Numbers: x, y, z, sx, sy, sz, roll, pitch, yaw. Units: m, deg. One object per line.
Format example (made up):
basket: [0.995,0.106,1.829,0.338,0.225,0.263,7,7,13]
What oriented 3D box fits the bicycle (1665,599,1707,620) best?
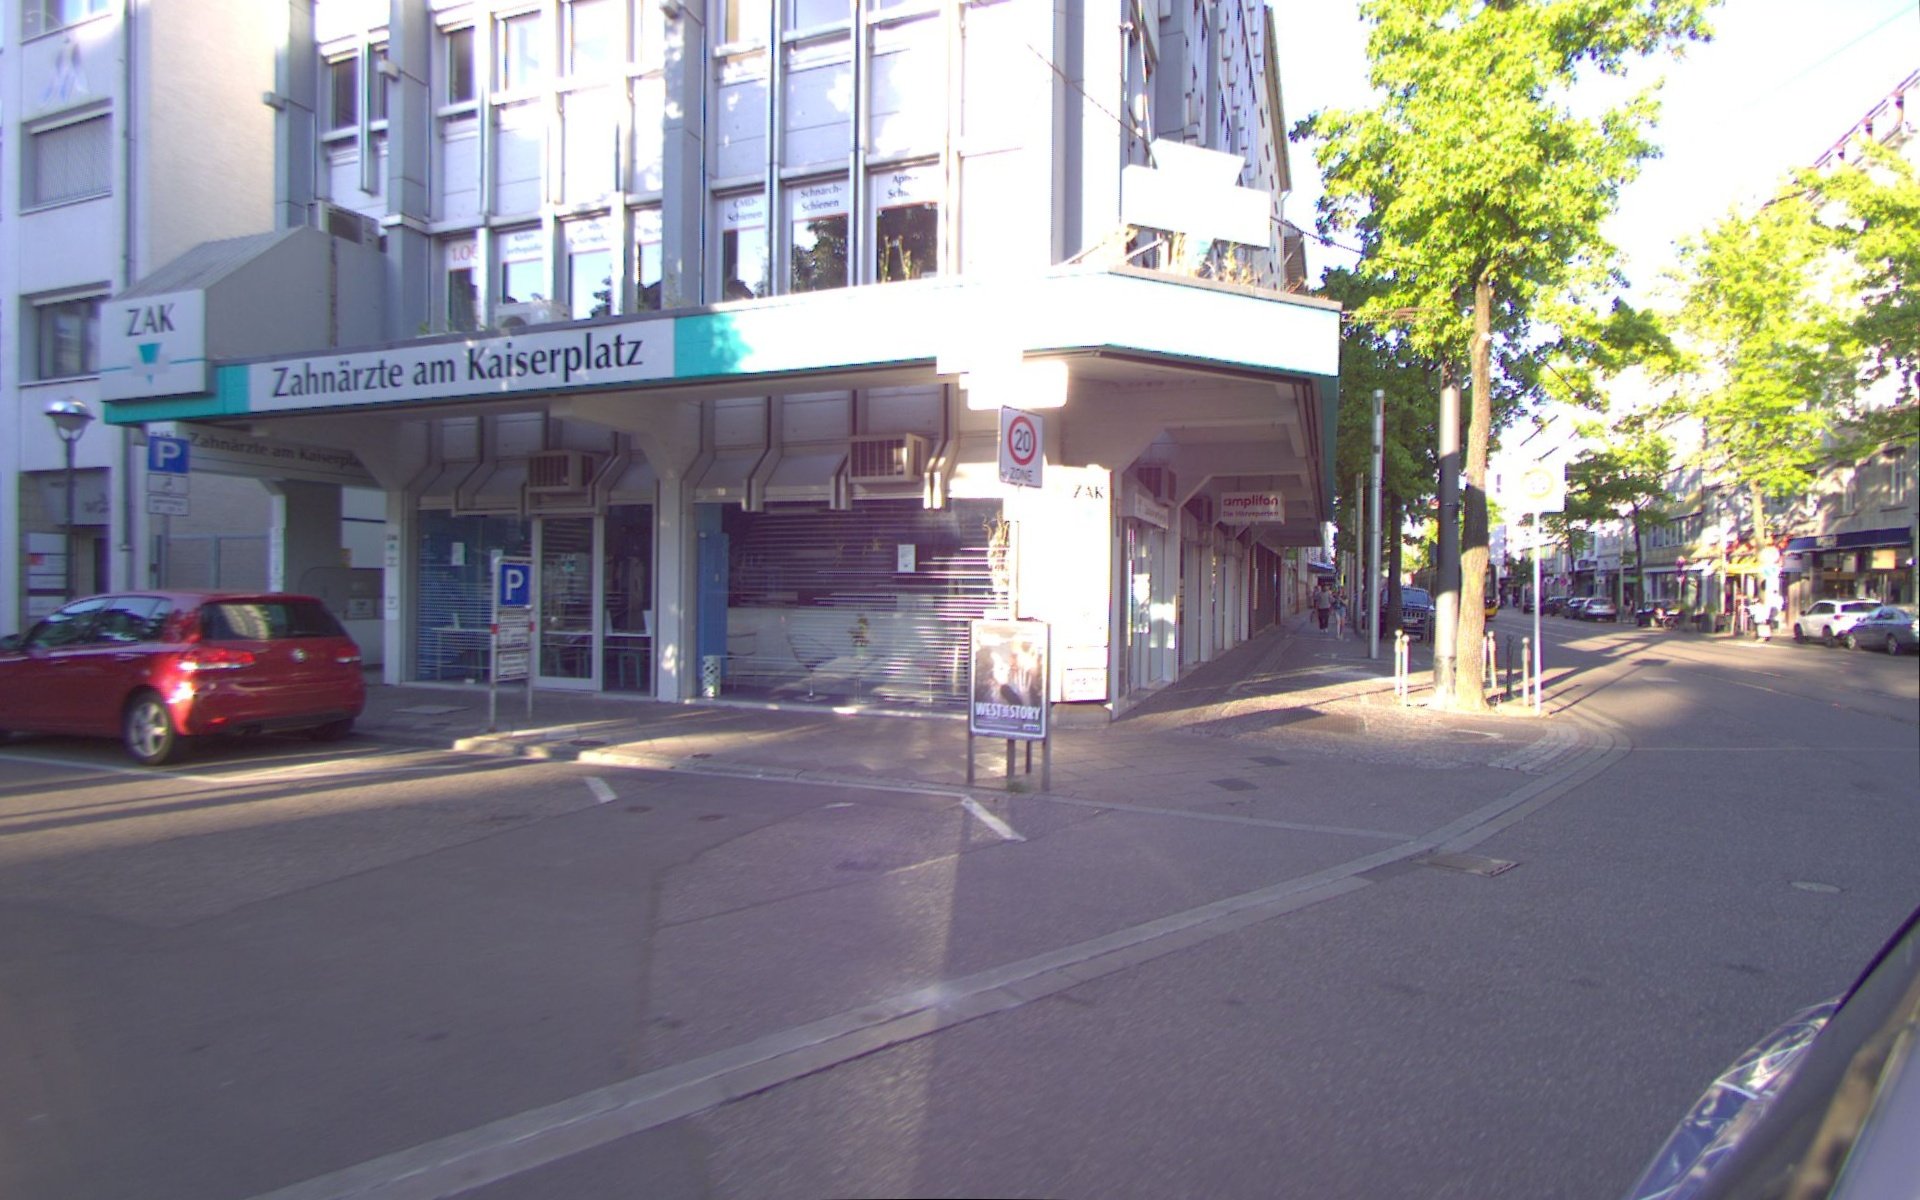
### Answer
bicycle: [35.633,0.468,49.663,1.605,0.978,0.428,-1,-1,27]

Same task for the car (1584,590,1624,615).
car: [40.268,0.129,63.340,1.756,1.516,4.134,1,1,28]

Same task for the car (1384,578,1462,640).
car: [15.367,0.255,33.788,1.922,1.780,4.647,5,2,21]

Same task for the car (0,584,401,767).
car: [-7.539,0.602,9.654,3.821,1.458,1.821,0,0,21]

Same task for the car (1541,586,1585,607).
car: [46.580,-0.279,78.243,1.772,1.509,4.223,-1,0,15]

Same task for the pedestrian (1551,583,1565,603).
pedestrian: [53.348,-0.607,90.291,0.842,1.788,0.827,1,0,19]

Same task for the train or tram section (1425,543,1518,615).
train or tram section: [32.193,-1.210,64.432,3.566,4.048,15.604,1,0,21]

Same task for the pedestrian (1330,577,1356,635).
pedestrian: [11.773,0.179,31.122,0.638,1.690,0.780,4,1,21]

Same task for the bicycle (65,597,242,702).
bicycle: [-9.614,0.564,12.073,1.899,1.196,0.523,0,0,10]

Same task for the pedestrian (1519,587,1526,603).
pedestrian: [63.430,-0.572,114.126,0.622,1.734,0.800,-1,-1,25]

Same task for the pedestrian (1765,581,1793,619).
pedestrian: [39.030,0.016,48.238,0.715,1.782,1.082,1,0,21]

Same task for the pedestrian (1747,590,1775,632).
pedestrian: [30.408,0.403,38.408,0.614,1.528,0.724,1,1,22]

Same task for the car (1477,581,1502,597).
car: [62.739,-1.246,119.865,1.975,1.776,4.712,-1,0,20]

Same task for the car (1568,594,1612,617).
car: [43.014,0.375,69.190,1.696,1.479,4.454,-1,0,21]

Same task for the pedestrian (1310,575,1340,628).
pedestrian: [12.804,0.032,35.495,0.851,1.774,0.926,4,1,21]

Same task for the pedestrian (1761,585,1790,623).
pedestrian: [37.947,0.189,47.103,0.782,1.715,0.907,1,0,21]

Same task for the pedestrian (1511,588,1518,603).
pedestrian: [62.810,-0.493,114.556,0.637,1.734,0.822,-1,-1,25]

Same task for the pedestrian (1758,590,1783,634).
pedestrian: [30.174,0.443,37.681,0.516,1.588,0.629,1,1,22]

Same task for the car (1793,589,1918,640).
car: [30.632,0.470,34.780,1.820,1.600,4.087,-3,-1,21]

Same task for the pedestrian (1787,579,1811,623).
pedestrian: [39.695,0.032,47.883,0.715,2.039,0.638,1,0,22]

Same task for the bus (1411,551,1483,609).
bus: [38.078,-1.396,79.778,3.575,4.048,17.359,1,0,21]

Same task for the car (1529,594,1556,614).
car: [49.465,0.352,85.955,1.625,1.637,3.660,-1,-1,36]

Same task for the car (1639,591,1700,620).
car: [37.261,0.281,53.239,1.650,1.446,3.801,-2,0,20]

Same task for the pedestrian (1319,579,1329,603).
pedestrian: [29.980,-0.734,83.406,0.707,1.910,1.045,2,1,21]

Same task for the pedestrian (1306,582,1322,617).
pedestrian: [17.652,-0.023,50.434,0.652,1.685,0.882,3,1,20]

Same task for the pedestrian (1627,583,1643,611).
pedestrian: [44.782,-0.177,67.172,0.654,1.849,0.872,-2,-1,21]

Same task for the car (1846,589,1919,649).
car: [28.619,0.515,30.091,1.820,1.600,4.668,-3,-1,21]

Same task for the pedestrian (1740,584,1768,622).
pedestrian: [37.043,0.130,47.231,0.836,1.715,0.735,1,0,21]

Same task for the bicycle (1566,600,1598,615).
bicycle: [45.475,0.557,74.040,1.956,1.014,0.328,1,0,25]
